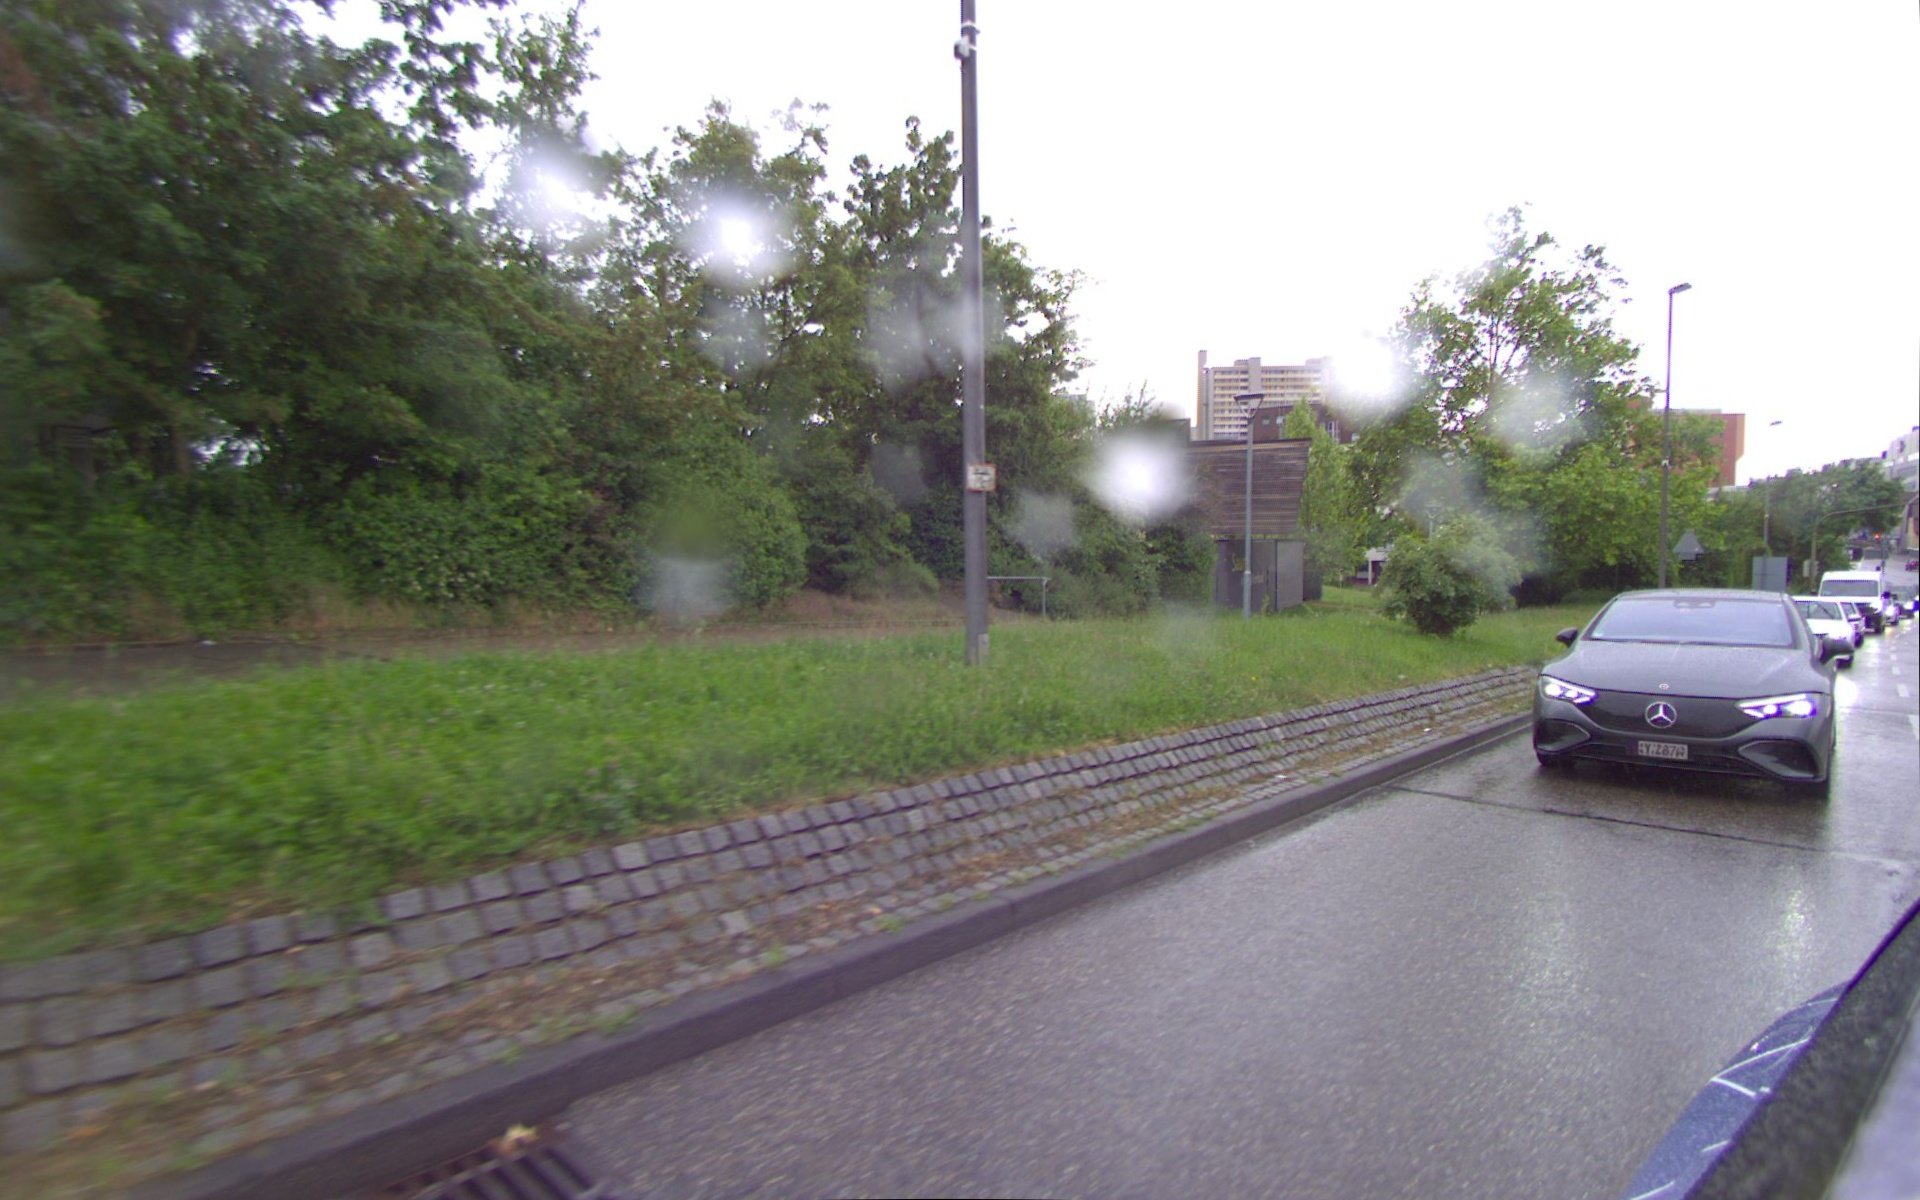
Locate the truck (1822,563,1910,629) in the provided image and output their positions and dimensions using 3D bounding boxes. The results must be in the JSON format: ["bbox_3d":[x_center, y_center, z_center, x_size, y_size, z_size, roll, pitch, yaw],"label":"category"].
[{"bbox_3d":[36.781,-0.235,41.031,6.098,2.469,2.166,-2,2,-44],"label":"truck"}]

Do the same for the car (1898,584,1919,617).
[{"bbox_3d":[47.932,0.025,50.228,1.994,1.571,3.937,1,1,43],"label":"car"}]

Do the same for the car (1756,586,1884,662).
[{"bbox_3d":[18.700,0.453,21.938,3.969,1.414,1.715,-2,1,-44],"label":"car"}]

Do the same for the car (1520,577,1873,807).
[{"bbox_3d":[6.610,0.567,8.857,1.832,1.462,4.478,0,1,45],"label":"car"}]

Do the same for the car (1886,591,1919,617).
[{"bbox_3d":[59.491,0.210,63.461,1.994,1.571,3.937,1,1,44],"label":"car"}]

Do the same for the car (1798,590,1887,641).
[{"bbox_3d":[26.677,0.426,30.556,3.673,1.394,1.715,-2,1,-44],"label":"car"}]
